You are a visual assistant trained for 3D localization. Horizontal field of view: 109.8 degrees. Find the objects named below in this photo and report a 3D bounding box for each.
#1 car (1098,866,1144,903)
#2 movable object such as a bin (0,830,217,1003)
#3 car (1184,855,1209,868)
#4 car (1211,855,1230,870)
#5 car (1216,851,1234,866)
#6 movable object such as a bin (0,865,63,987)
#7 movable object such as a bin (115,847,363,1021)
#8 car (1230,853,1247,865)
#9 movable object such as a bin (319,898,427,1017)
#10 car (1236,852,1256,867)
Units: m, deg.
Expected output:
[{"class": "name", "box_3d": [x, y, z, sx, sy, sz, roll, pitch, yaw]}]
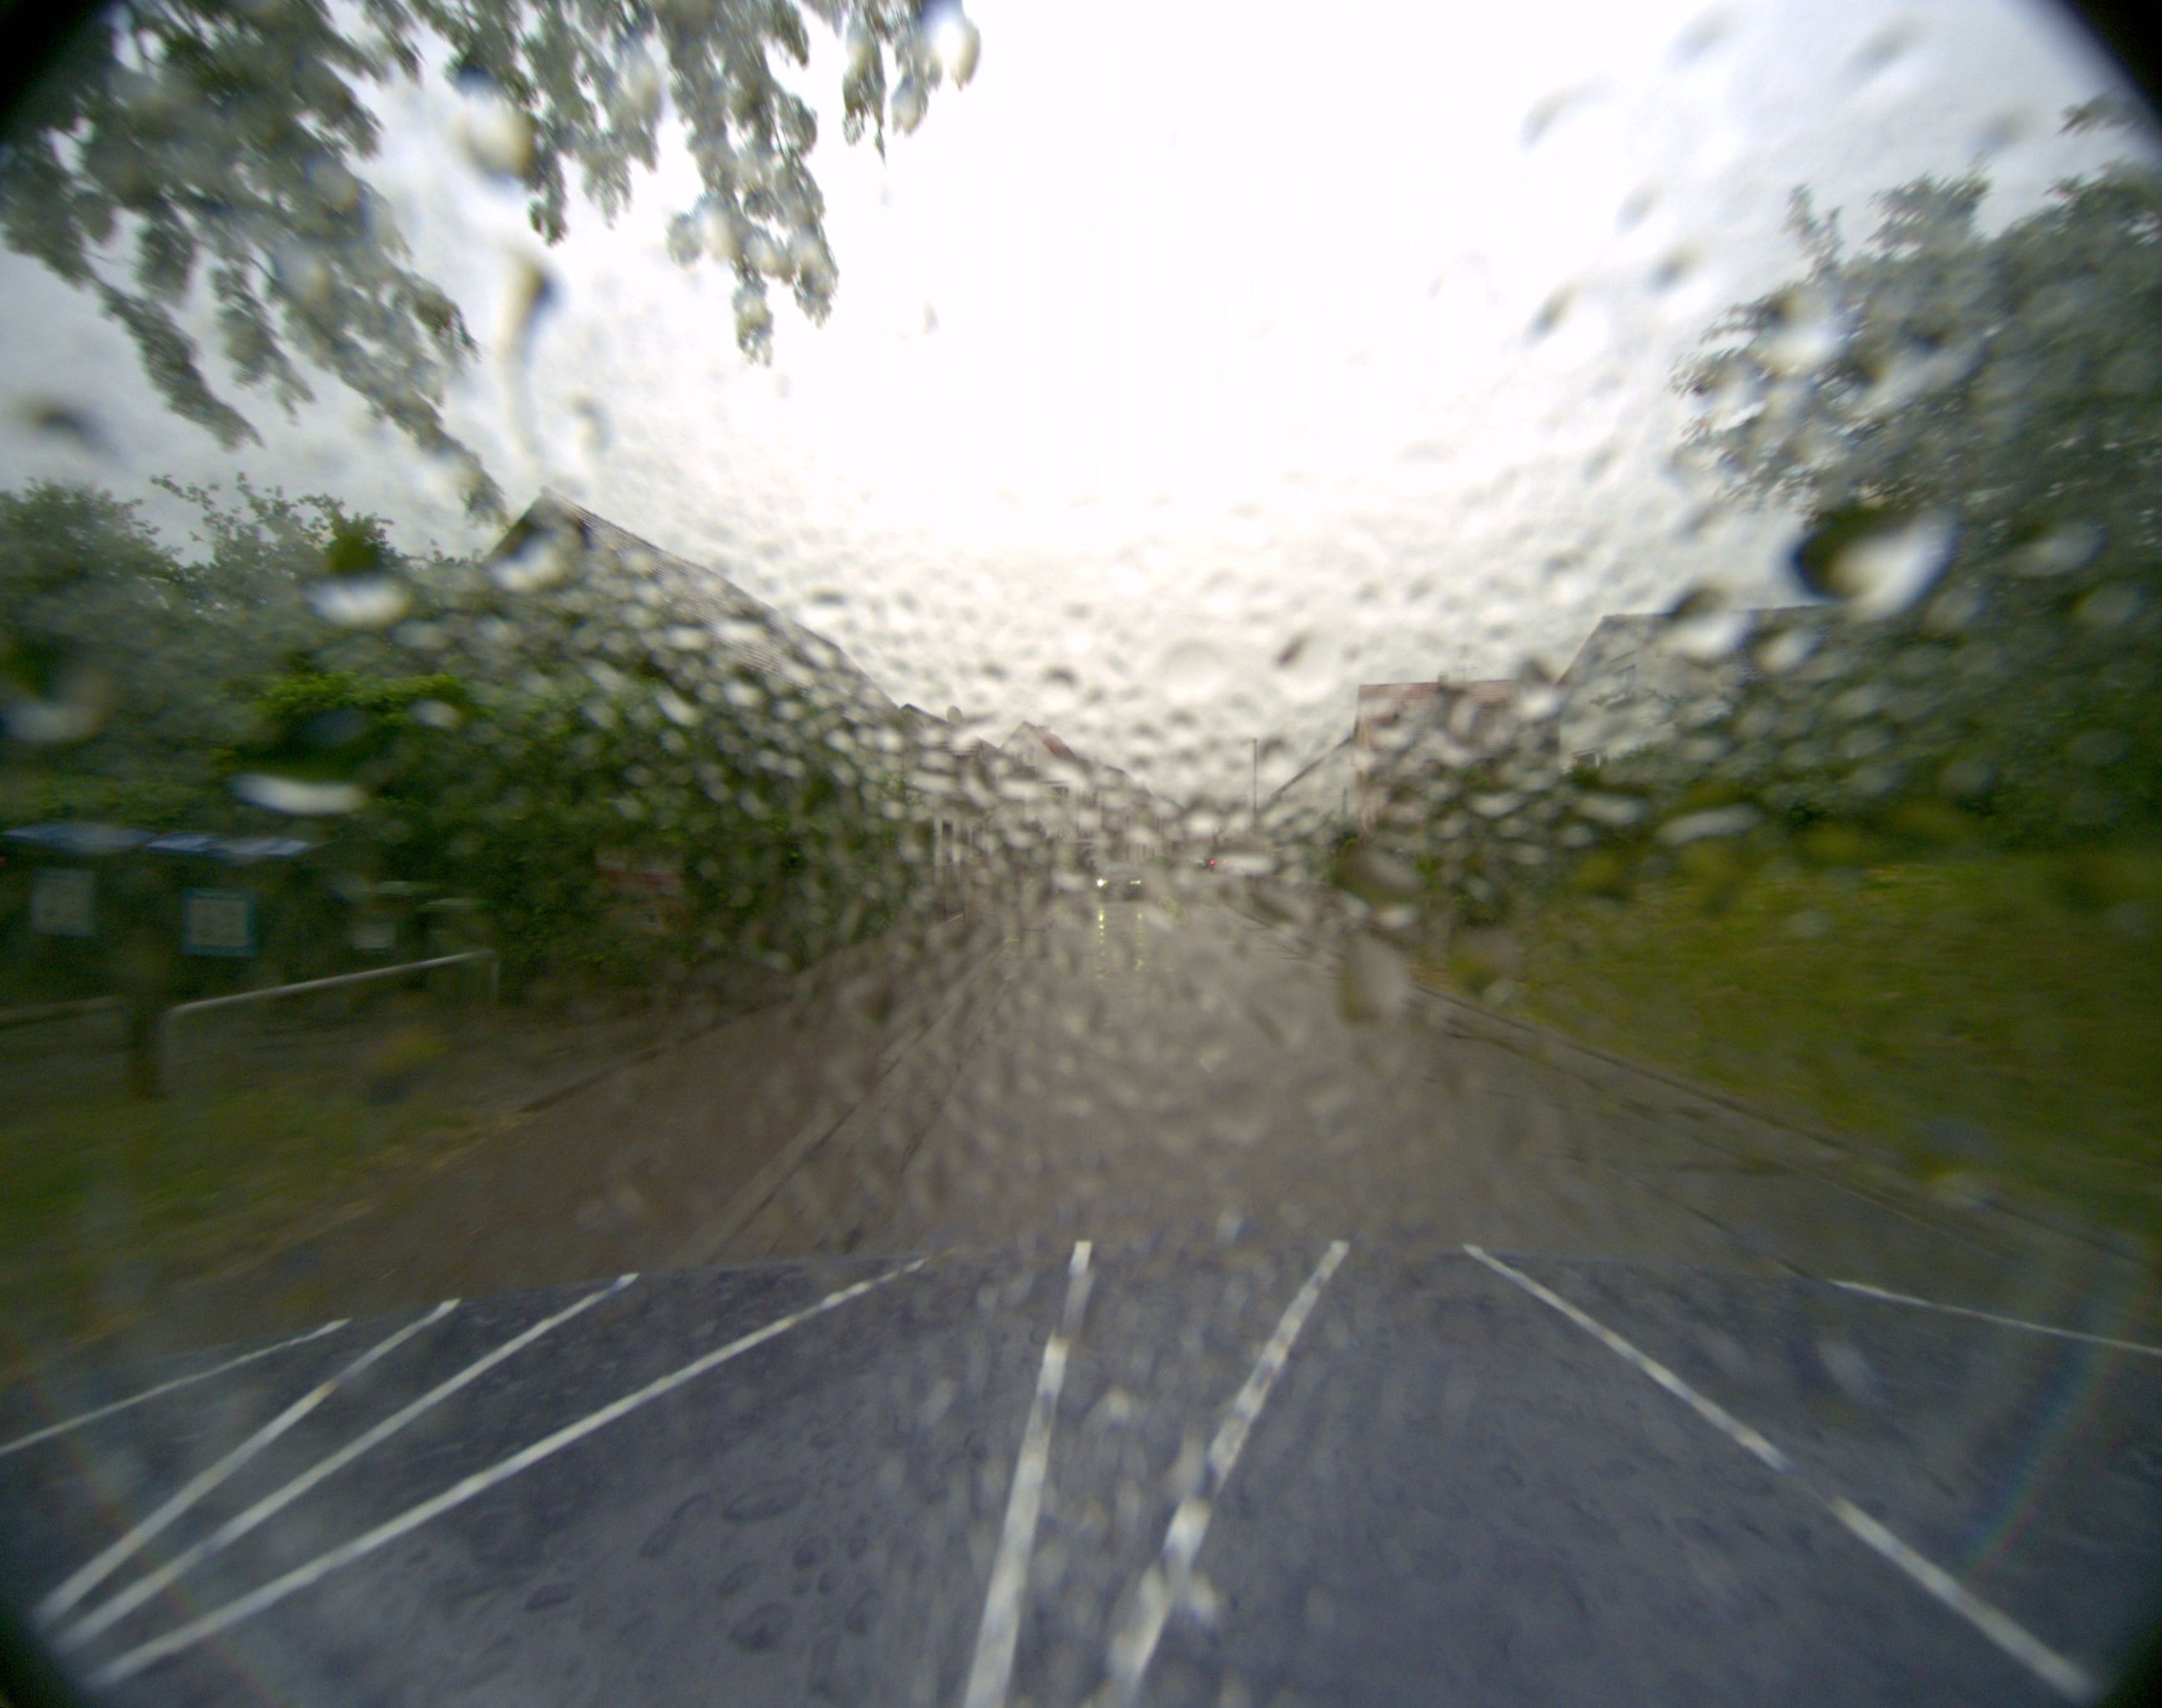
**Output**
[{"class": "car", "box_3d": [1.607, 1.147, 29.772, 1.666, 1.290, 3.519, -2, 0, 4]}, {"class": "movable object such as a bin", "box_3d": [-9.040, 0.535, 6.977, 1.238, 1.428, 0.795, 4, 1, -1]}, {"class": "car", "box_3d": [14.908, 1.017, 98.274, 1.892, 1.566, 3.887, -3, 0, -12]}, {"class": "car", "box_3d": [14.960, 0.887, 81.179, 1.702, 1.538, 3.855, 2, 0, 14]}, {"class": "car", "box_3d": [17.662, 0.495, 93.041, 1.836, 1.663, 5.202, 1, 1, 15]}, {"class": "movable object such as a bin", "box_3d": [-10.115, 0.662, 7.060, 0.568, 1.073, 0.530, 3, 1, -1]}, {"class": "movable object such as a bin", "box_3d": [-7.543, 0.681, 6.864, 1.296, 1.410, 0.795, 3, 1, -1]}, {"class": "car", "box_3d": [22.482, 0.691, 108.570, 1.813, 1.587, 4.189, 1, 1, 20]}, {"class": "movable object such as a bin", "box_3d": [-6.559, 0.942, 7.057, 0.538, 1.017, 0.462, 3, 1, -1]}, {"class": "car", "box_3d": [19.926, 0.680, 91.547, 1.813, 1.674, 4.189, 1, 1, 20]}]
